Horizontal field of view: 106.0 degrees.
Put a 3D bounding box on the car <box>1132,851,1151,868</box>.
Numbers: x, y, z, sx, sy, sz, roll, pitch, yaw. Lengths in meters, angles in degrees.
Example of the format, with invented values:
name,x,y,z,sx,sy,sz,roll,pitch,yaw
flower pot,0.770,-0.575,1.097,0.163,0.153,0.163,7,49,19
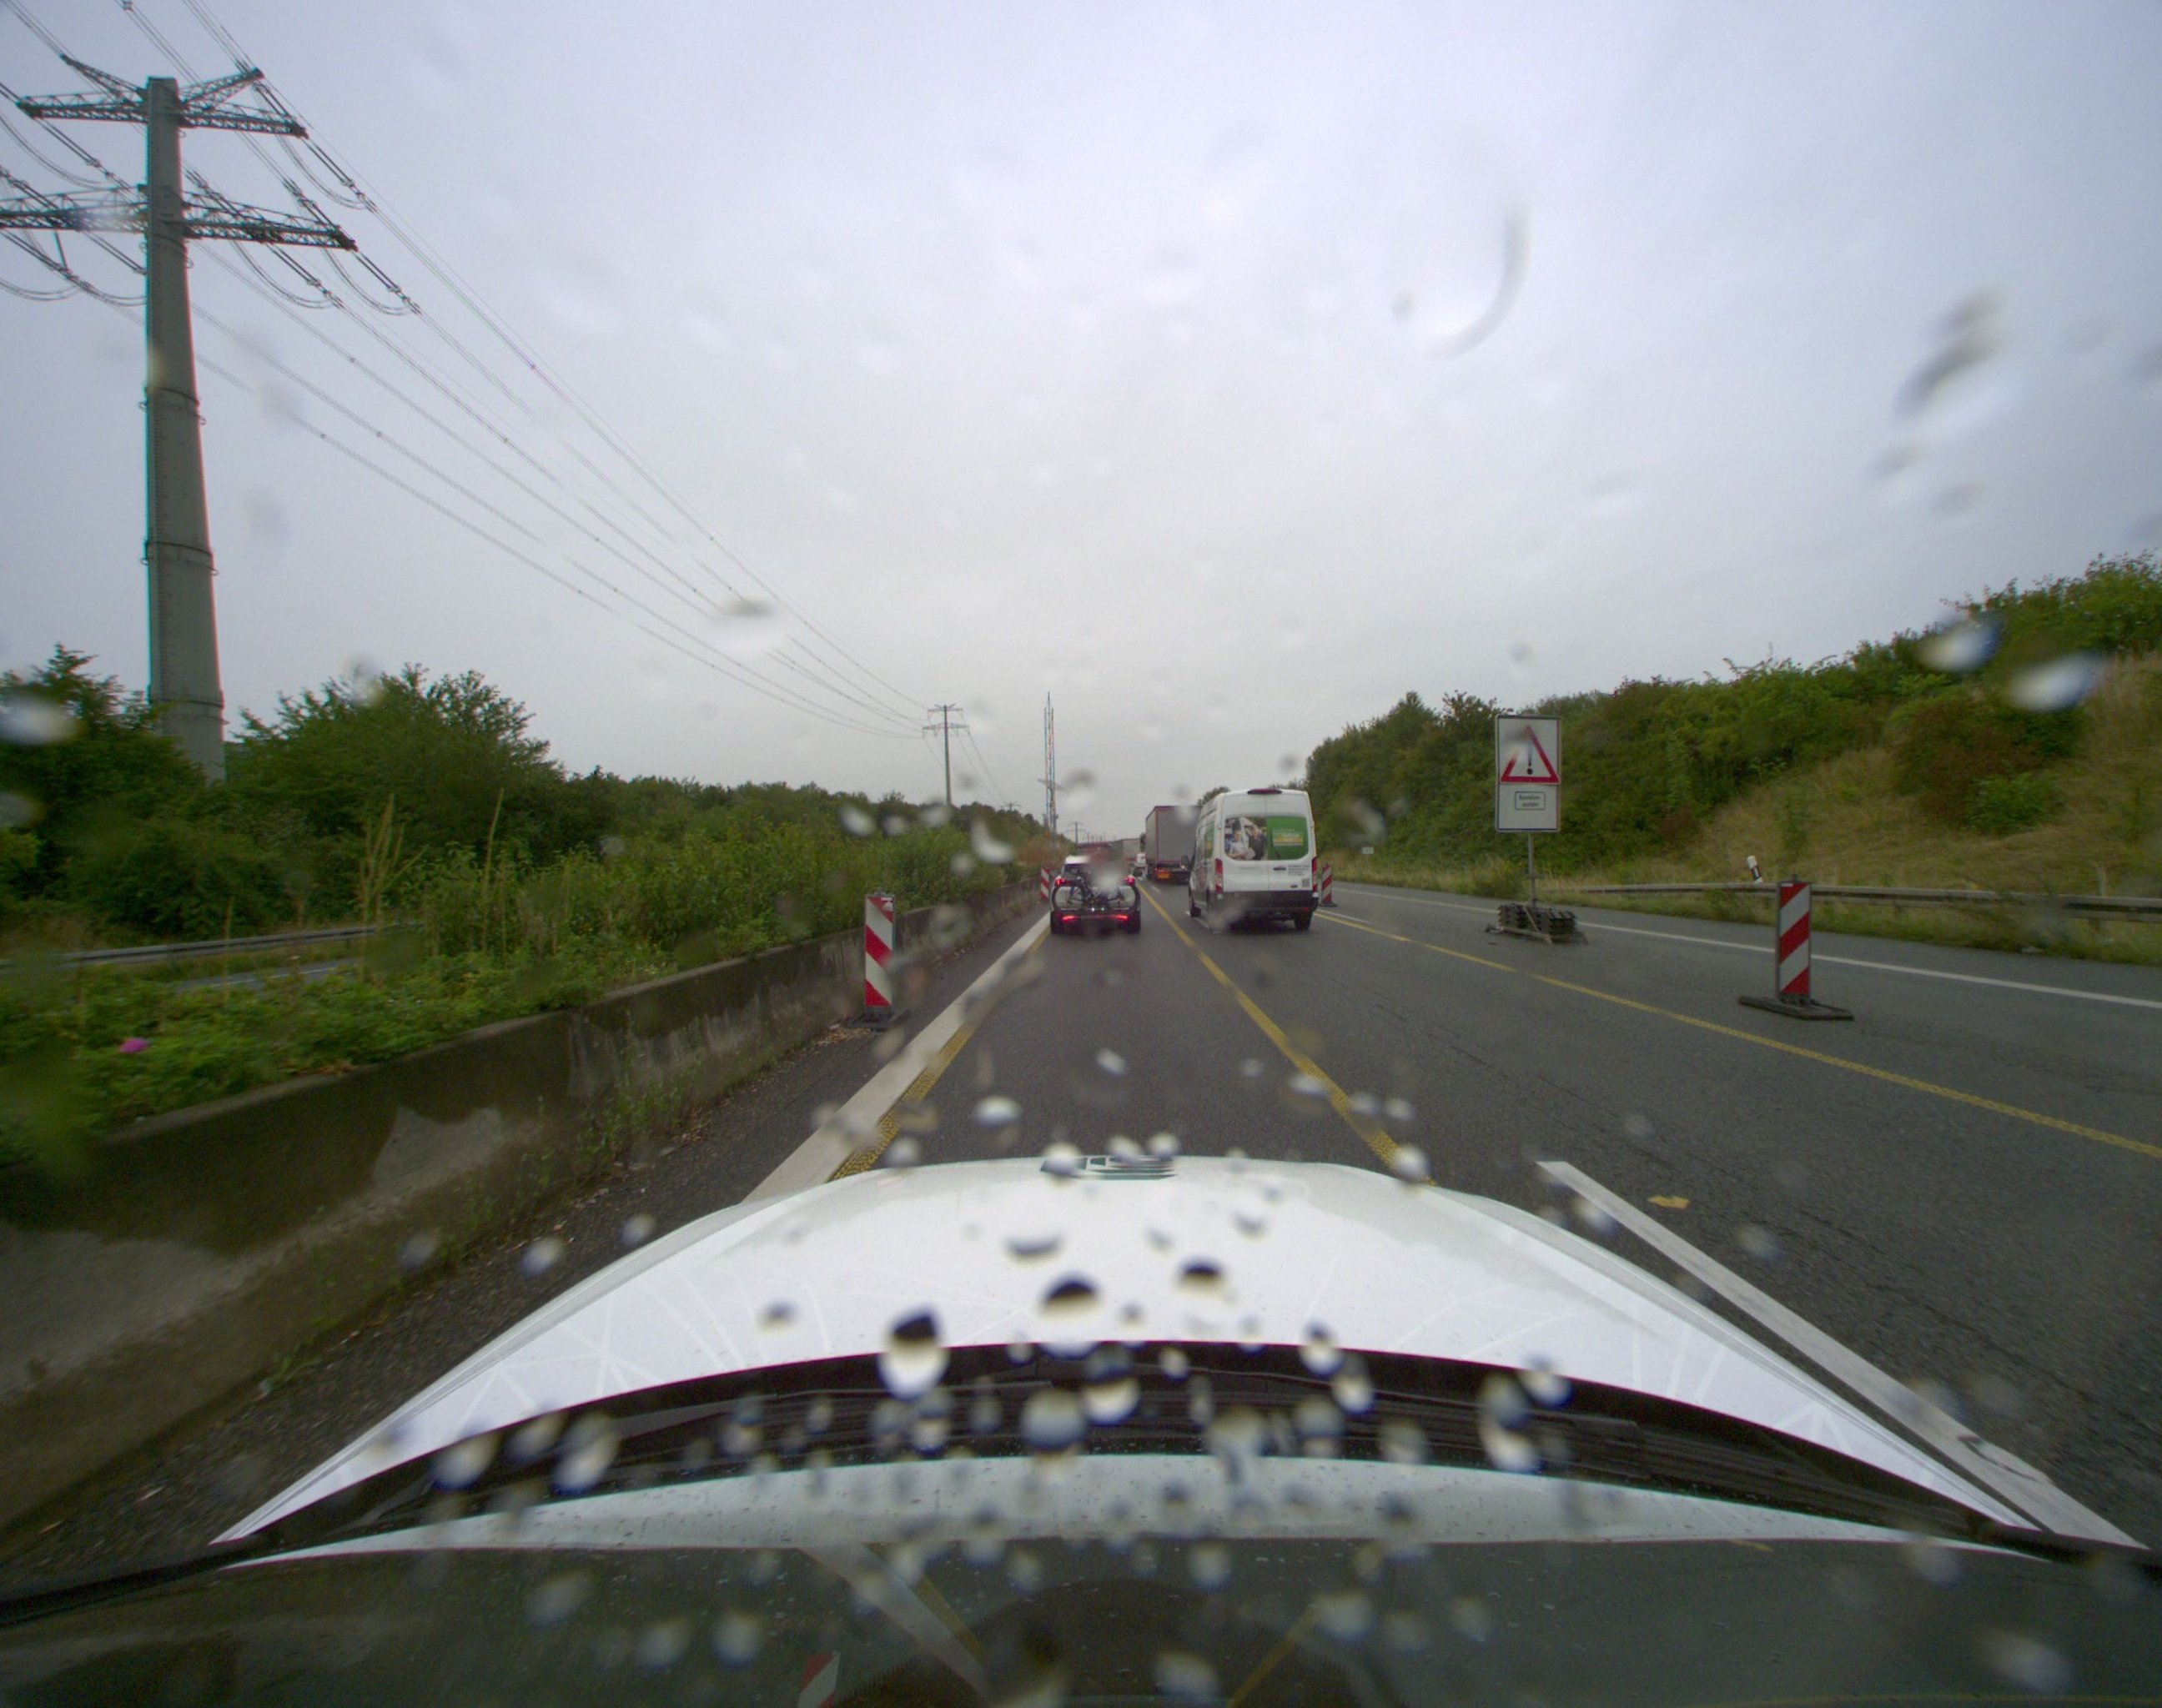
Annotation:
name,x,y,z,sx,sy,sz,roll,pitch,yaw
car,6.453,0.575,87.633,1.822,1.839,4.657,-1,0,2

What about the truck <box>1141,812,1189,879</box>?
name,x,y,z,sx,sy,sz,roll,pitch,yaw
truck,5.451,-0.549,53.817,2.696,4.138,5.692,-1,0,2

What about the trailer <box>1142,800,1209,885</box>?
name,x,y,z,sx,sy,sz,roll,pitch,yaw
trailer,5.148,-0.548,46.933,2.696,4.146,13.738,-1,0,2

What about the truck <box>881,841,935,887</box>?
name,x,y,z,sx,sy,sz,roll,pitch,yaw
truck,-13.519,0.778,64.210,2.252,3.228,7.055,-5,-1,2

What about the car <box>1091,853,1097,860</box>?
name,x,y,z,sx,sy,sz,roll,pitch,yaw
car,4.021,0.642,249.002,1.924,1.973,4.002,-1,1,2

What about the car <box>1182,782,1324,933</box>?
name,x,y,z,sx,sy,sz,roll,pitch,yaw
car,3.563,0.070,18.096,1.986,2.783,5.757,-1,0,1

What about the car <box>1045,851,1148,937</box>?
name,x,y,z,sx,sy,sz,roll,pitch,yaw
car,0.348,0.742,17.210,1.843,1.531,4.770,-1,0,2

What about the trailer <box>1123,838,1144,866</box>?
name,x,y,z,sx,sy,sz,roll,pitch,yaw
trailer,7.863,-0.285,124.012,2.682,4.076,13.638,-1,0,2

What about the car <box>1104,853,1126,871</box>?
name,x,y,z,sx,sy,sz,roll,pitch,yaw
car,2.962,0.692,71.326,1.843,1.531,4.001,-1,0,2

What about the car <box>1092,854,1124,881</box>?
name,x,y,z,sx,sy,sz,roll,pitch,yaw
car,1.603,0.789,48.923,1.843,1.531,4.001,-1,0,2
